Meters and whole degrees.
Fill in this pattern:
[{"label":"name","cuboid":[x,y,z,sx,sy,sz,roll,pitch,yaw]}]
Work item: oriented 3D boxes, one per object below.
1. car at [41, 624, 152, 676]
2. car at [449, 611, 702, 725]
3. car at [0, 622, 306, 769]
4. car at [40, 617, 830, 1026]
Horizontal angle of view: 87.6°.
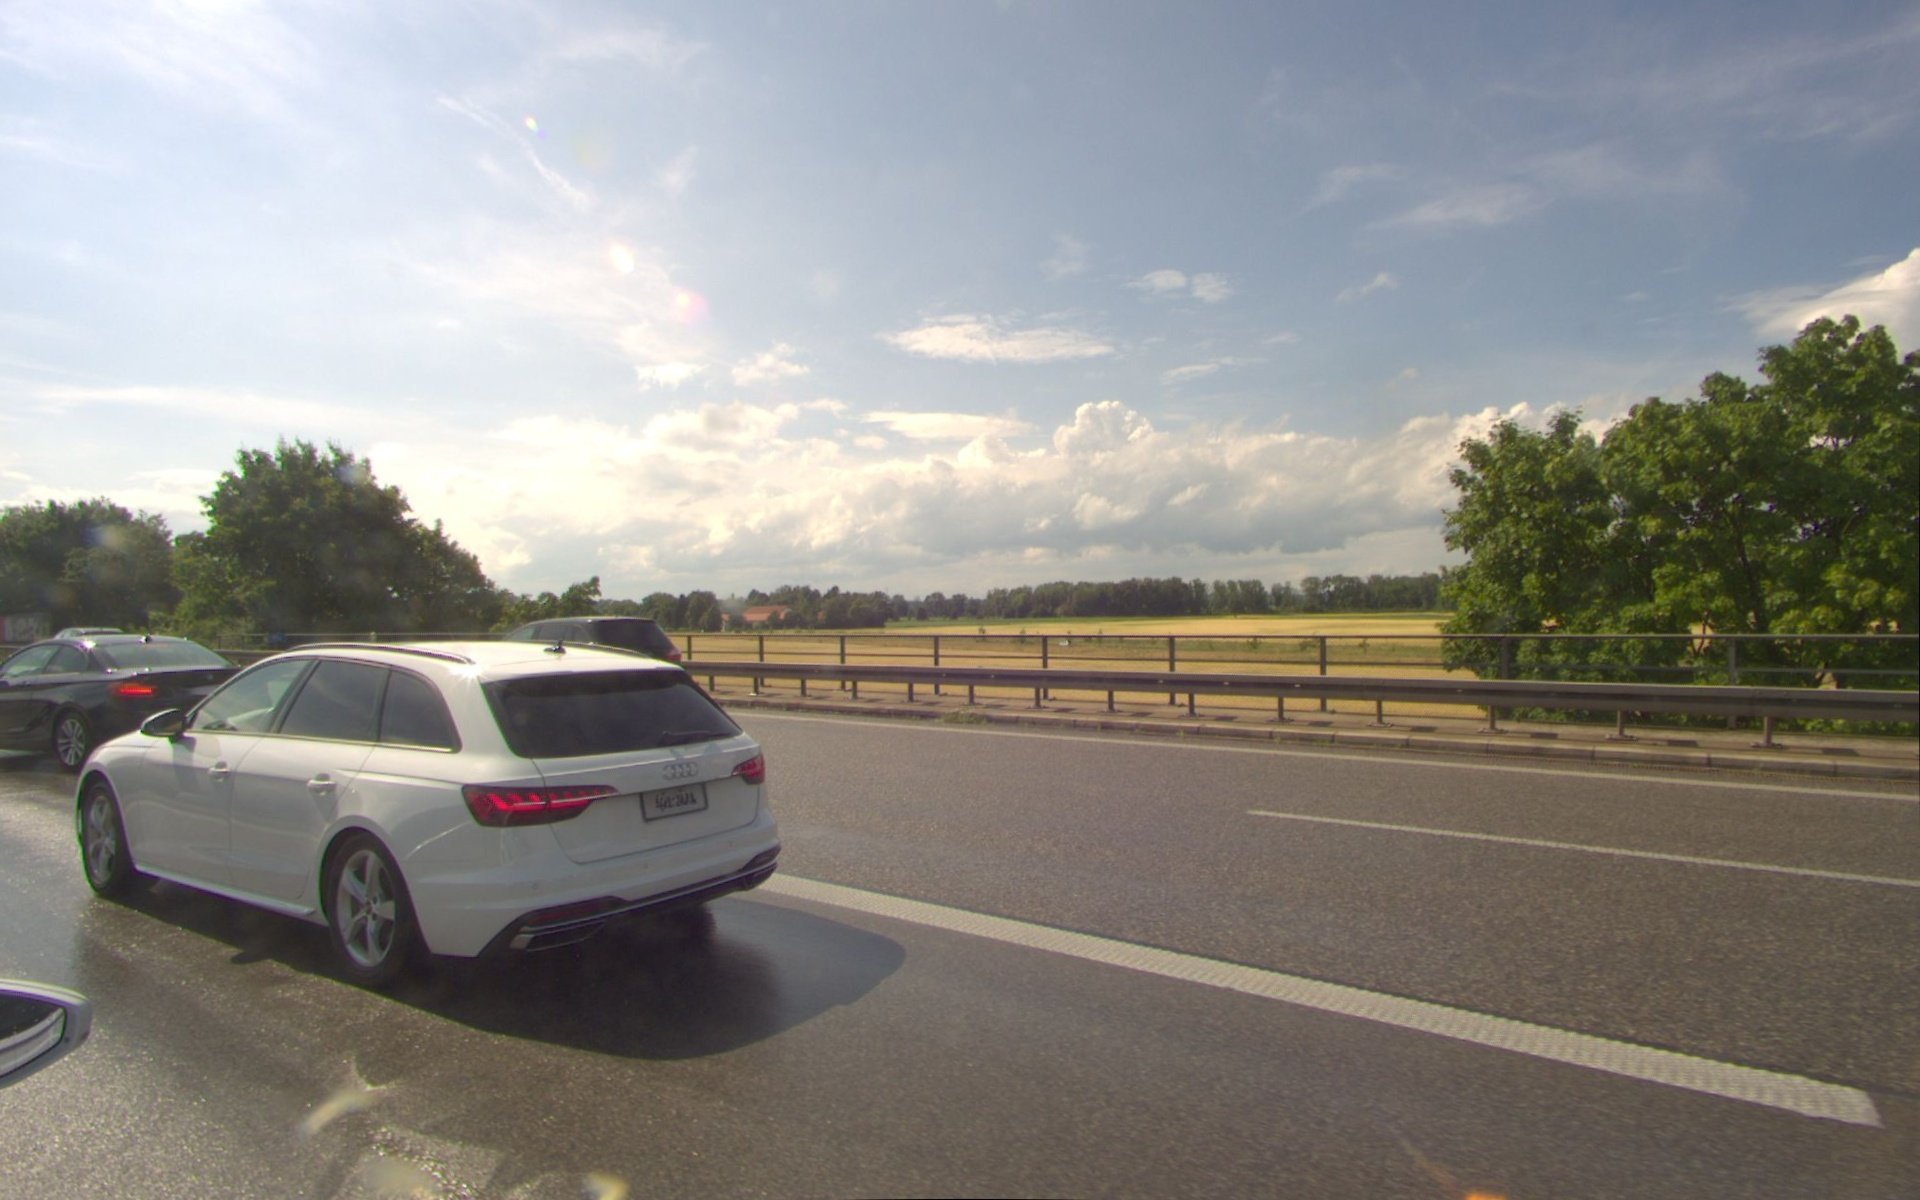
[{"label":"car","cuboid":[-28.021,1.599,32.463,3.947,1.588,1.843,-1,-2,36]},{"label":"car","cuboid":[-6.350,1.032,16.376,4.306,1.641,1.816,-1,-2,36]},{"label":"car","cuboid":[-10.110,1.040,11.888,4.183,1.483,1.850,-1,-1,22]},{"label":"car","cuboid":[-3.029,0.871,5.493,4.446,1.443,1.824,-2,-2,31]}]
